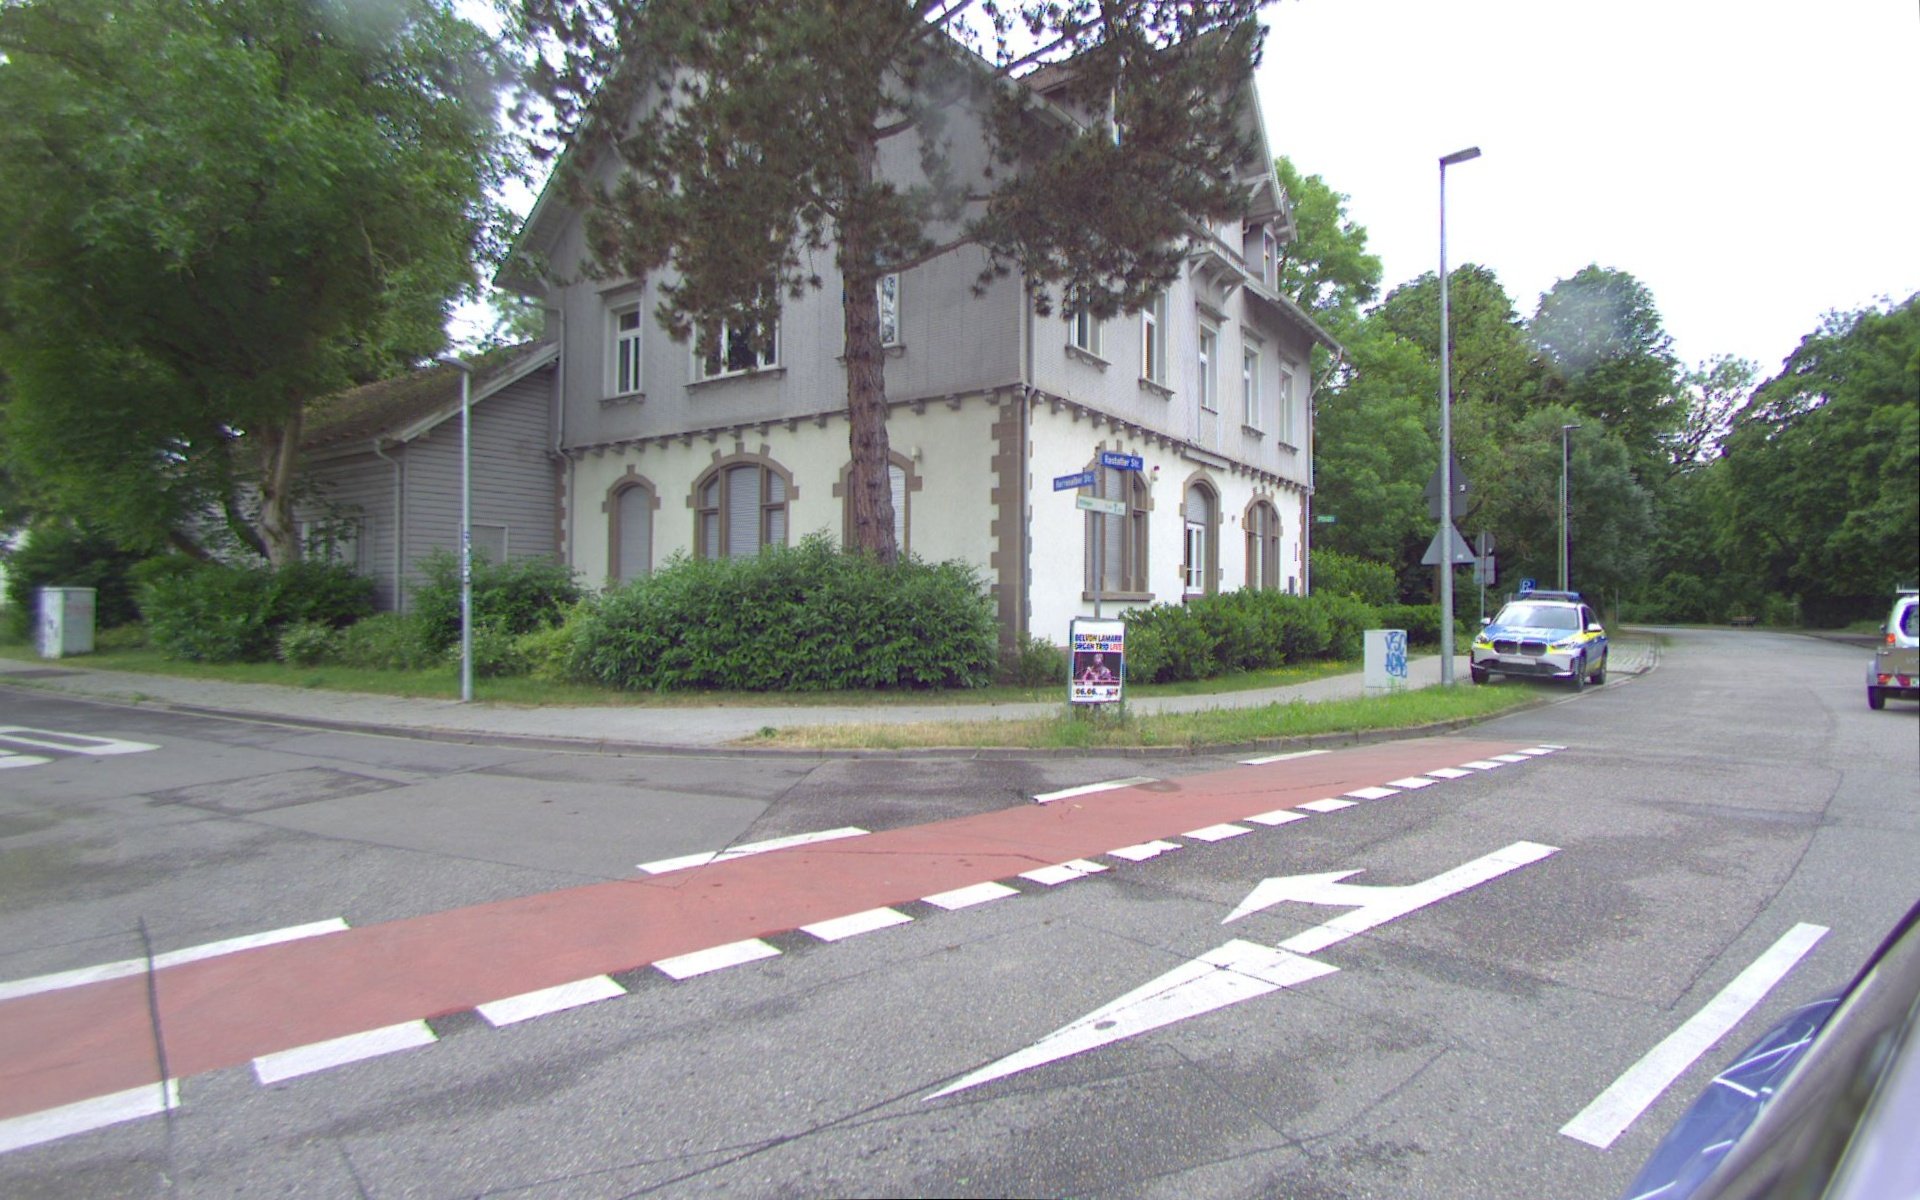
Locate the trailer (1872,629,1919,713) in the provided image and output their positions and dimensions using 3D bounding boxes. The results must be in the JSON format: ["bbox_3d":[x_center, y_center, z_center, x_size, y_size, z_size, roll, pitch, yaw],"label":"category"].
[{"bbox_3d":[14.411,1.003,14.621,3.407,0.998,1.568,-1,1,-43],"label":"trailer"}]

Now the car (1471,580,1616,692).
[{"bbox_3d":[11.302,0.606,19.489,1.926,1.873,3.947,2,1,37],"label":"car"}]

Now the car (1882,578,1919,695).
[{"bbox_3d":[17.294,0.563,17.129,4.150,1.881,2.090,0,-1,-42],"label":"car"}]
